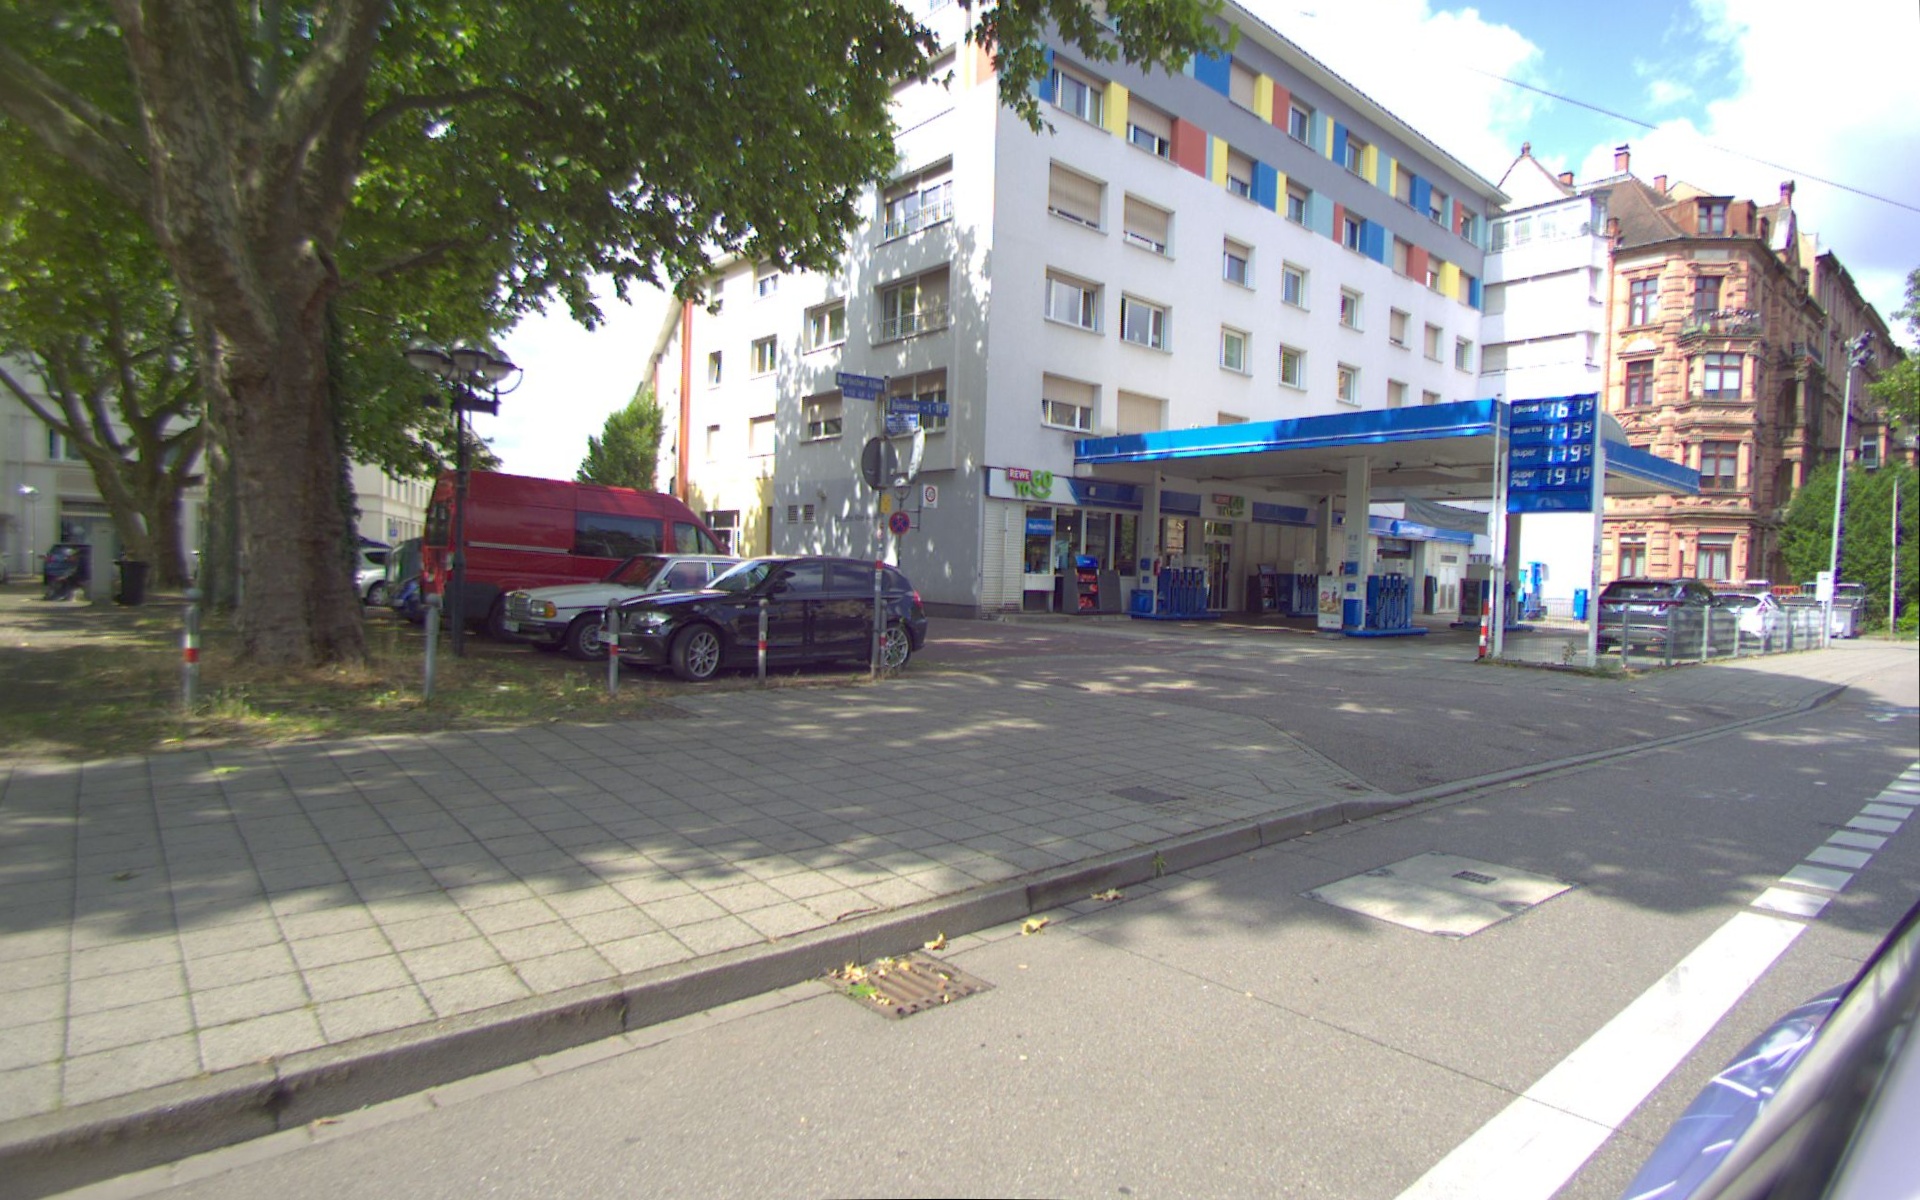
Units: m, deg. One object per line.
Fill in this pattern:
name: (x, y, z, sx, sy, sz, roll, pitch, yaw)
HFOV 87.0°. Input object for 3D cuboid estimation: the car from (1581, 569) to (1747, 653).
car: (15.247, 0.200, 21.834, 4.501, 1.622, 1.810, 0, 1, -40)

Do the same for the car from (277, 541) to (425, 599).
car: (-17.162, -0.816, 28.583, 3.321, 1.527, 1.600, 0, 1, -43)

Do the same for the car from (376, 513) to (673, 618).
car: (-7.781, -0.550, 18.316, 4.568, 1.671, 2.011, 1, 1, -39)

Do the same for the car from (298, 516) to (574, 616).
car: (-10.339, -0.604, 20.150, 4.568, 1.776, 2.011, 1, 1, -39)

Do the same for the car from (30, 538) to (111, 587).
car: (-30.517, -1.315, 34.817, 1.965, 1.543, 4.162, 0, 2, -40)

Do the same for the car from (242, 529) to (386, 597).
car: (-20.478, -1.141, 32.122, 3.581, 2.012, 1.825, 0, 2, -43)

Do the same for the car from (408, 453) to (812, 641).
car: (-5.575, -0.760, 16.712, 5.911, 2.614, 2.117, 1, 2, -39)

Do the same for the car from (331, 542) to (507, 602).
car: (-13.473, -0.662, 25.312, 3.581, 1.380, 1.582, 0, 1, -43)

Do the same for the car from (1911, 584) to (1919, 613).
car: (66.866, 0.094, 67.714, 4.391, 1.962, 1.956, 7, 4, 38)

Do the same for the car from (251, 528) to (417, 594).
car: (-18.874, -1.133, 30.610, 3.980, 1.843, 1.824, 0, 1, -43)

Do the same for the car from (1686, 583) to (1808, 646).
car: (20.468, 0.356, 26.270, 3.932, 1.473, 1.809, 0, 1, -42)

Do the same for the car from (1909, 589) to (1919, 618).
car: (63.036, 0.264, 63.709, 4.717, 1.804, 1.975, 2, 1, 42)

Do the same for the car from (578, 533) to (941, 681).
car: (-2.282, 0.039, 12.135, 3.973, 1.488, 1.651, 0, 2, -42)

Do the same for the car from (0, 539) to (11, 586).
car: (-31.714, -1.253, 32.226, 1.924, 1.439, 4.174, 0, 2, -40)

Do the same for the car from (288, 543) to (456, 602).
car: (-15.557, -0.701, 26.849, 3.581, 1.433, 1.647, 0, 1, -43)

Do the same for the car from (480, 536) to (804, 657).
car: (-4.295, -0.073, 14.066, 3.976, 1.447, 1.650, 0, 2, -45)
